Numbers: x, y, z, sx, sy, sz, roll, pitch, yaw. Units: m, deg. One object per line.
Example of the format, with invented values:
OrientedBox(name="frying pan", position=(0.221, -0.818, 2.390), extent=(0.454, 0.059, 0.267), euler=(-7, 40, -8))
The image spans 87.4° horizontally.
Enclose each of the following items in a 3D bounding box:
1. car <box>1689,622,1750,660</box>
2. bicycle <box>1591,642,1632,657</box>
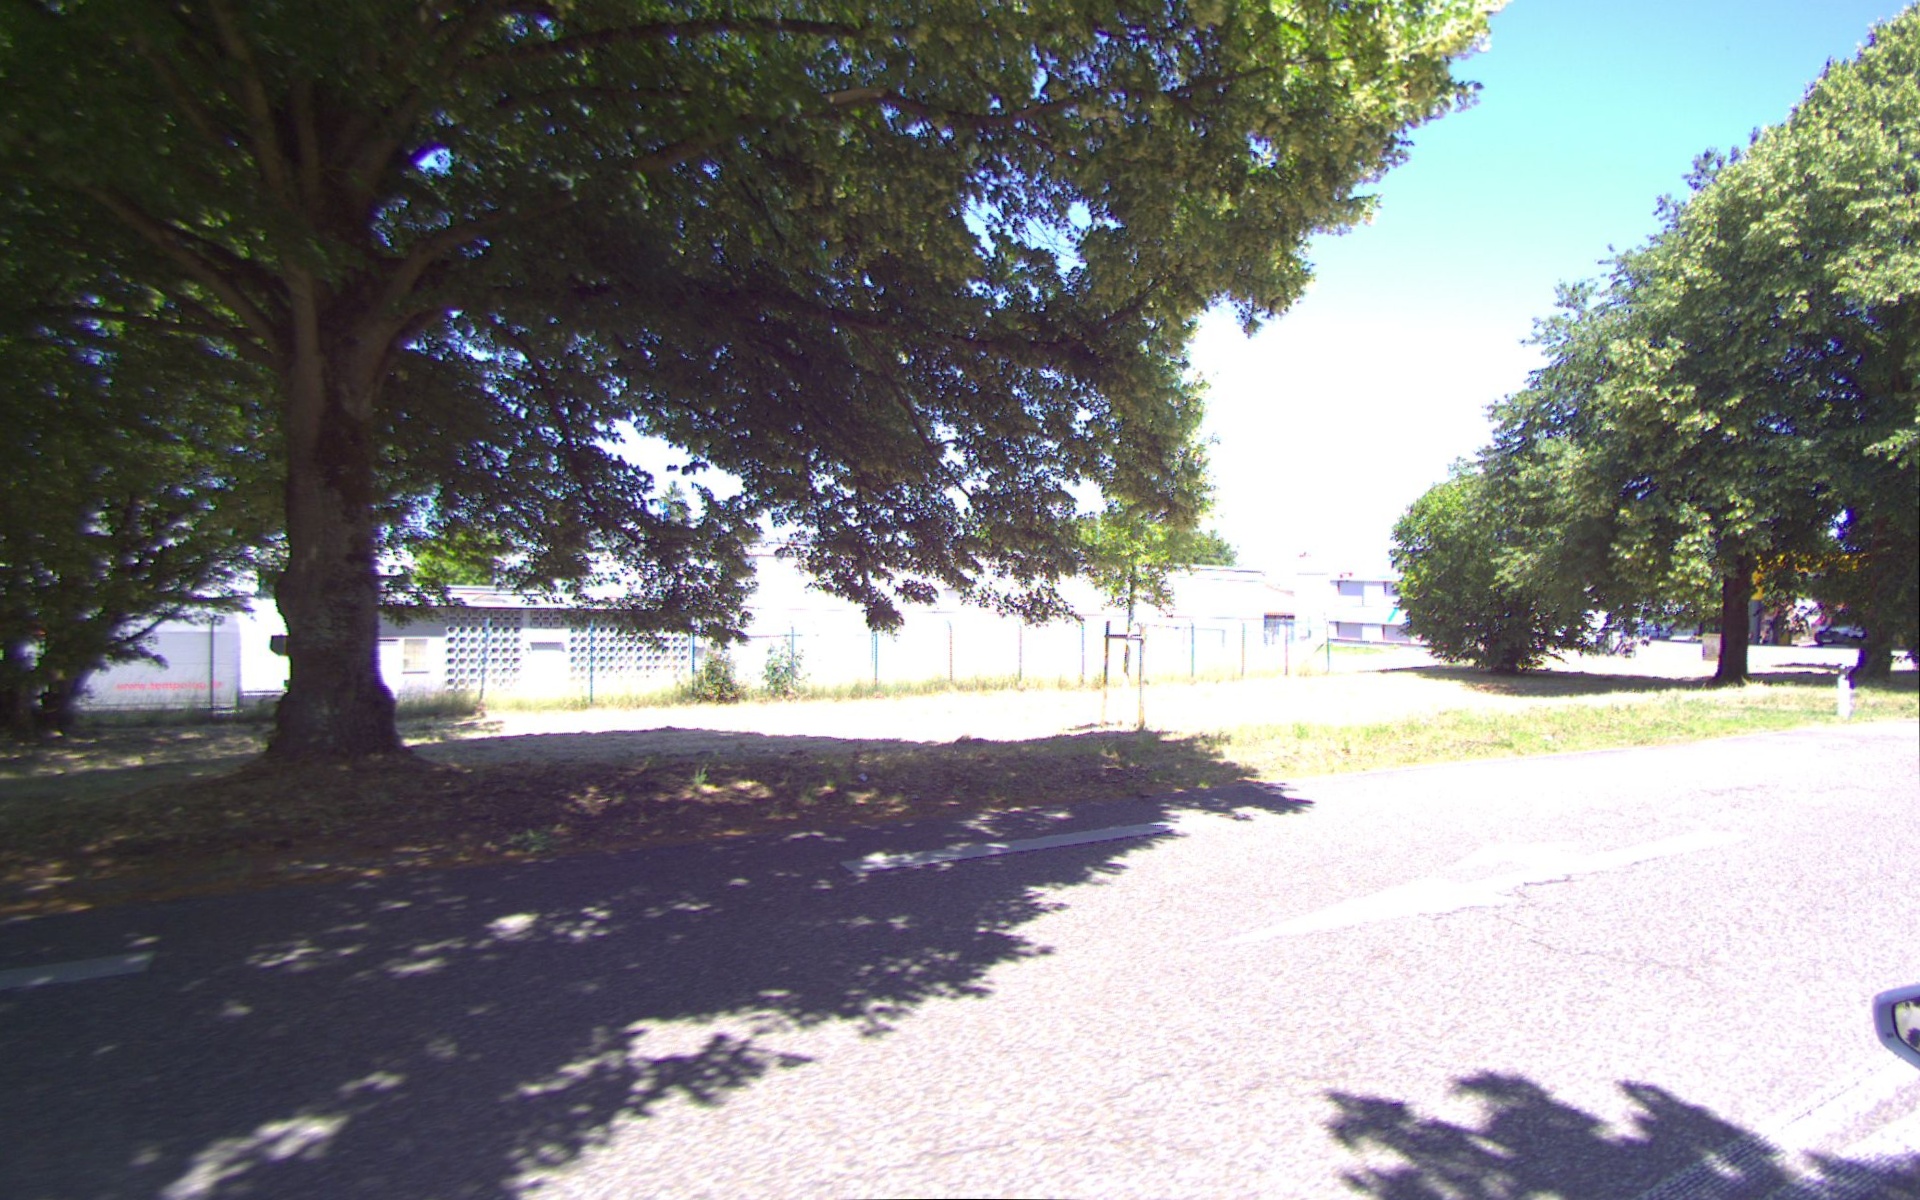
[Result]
OrientedBox(name="car", position=(34.716, 1.840, 45.883), extent=(1.718, 1.606, 3.976), euler=(1, -1, 44))
OrientedBox(name="bicycle", position=(31.835, 2.414, 49.087), extent=(0.420, 0.655, 1.661), euler=(2, -1, -35))
